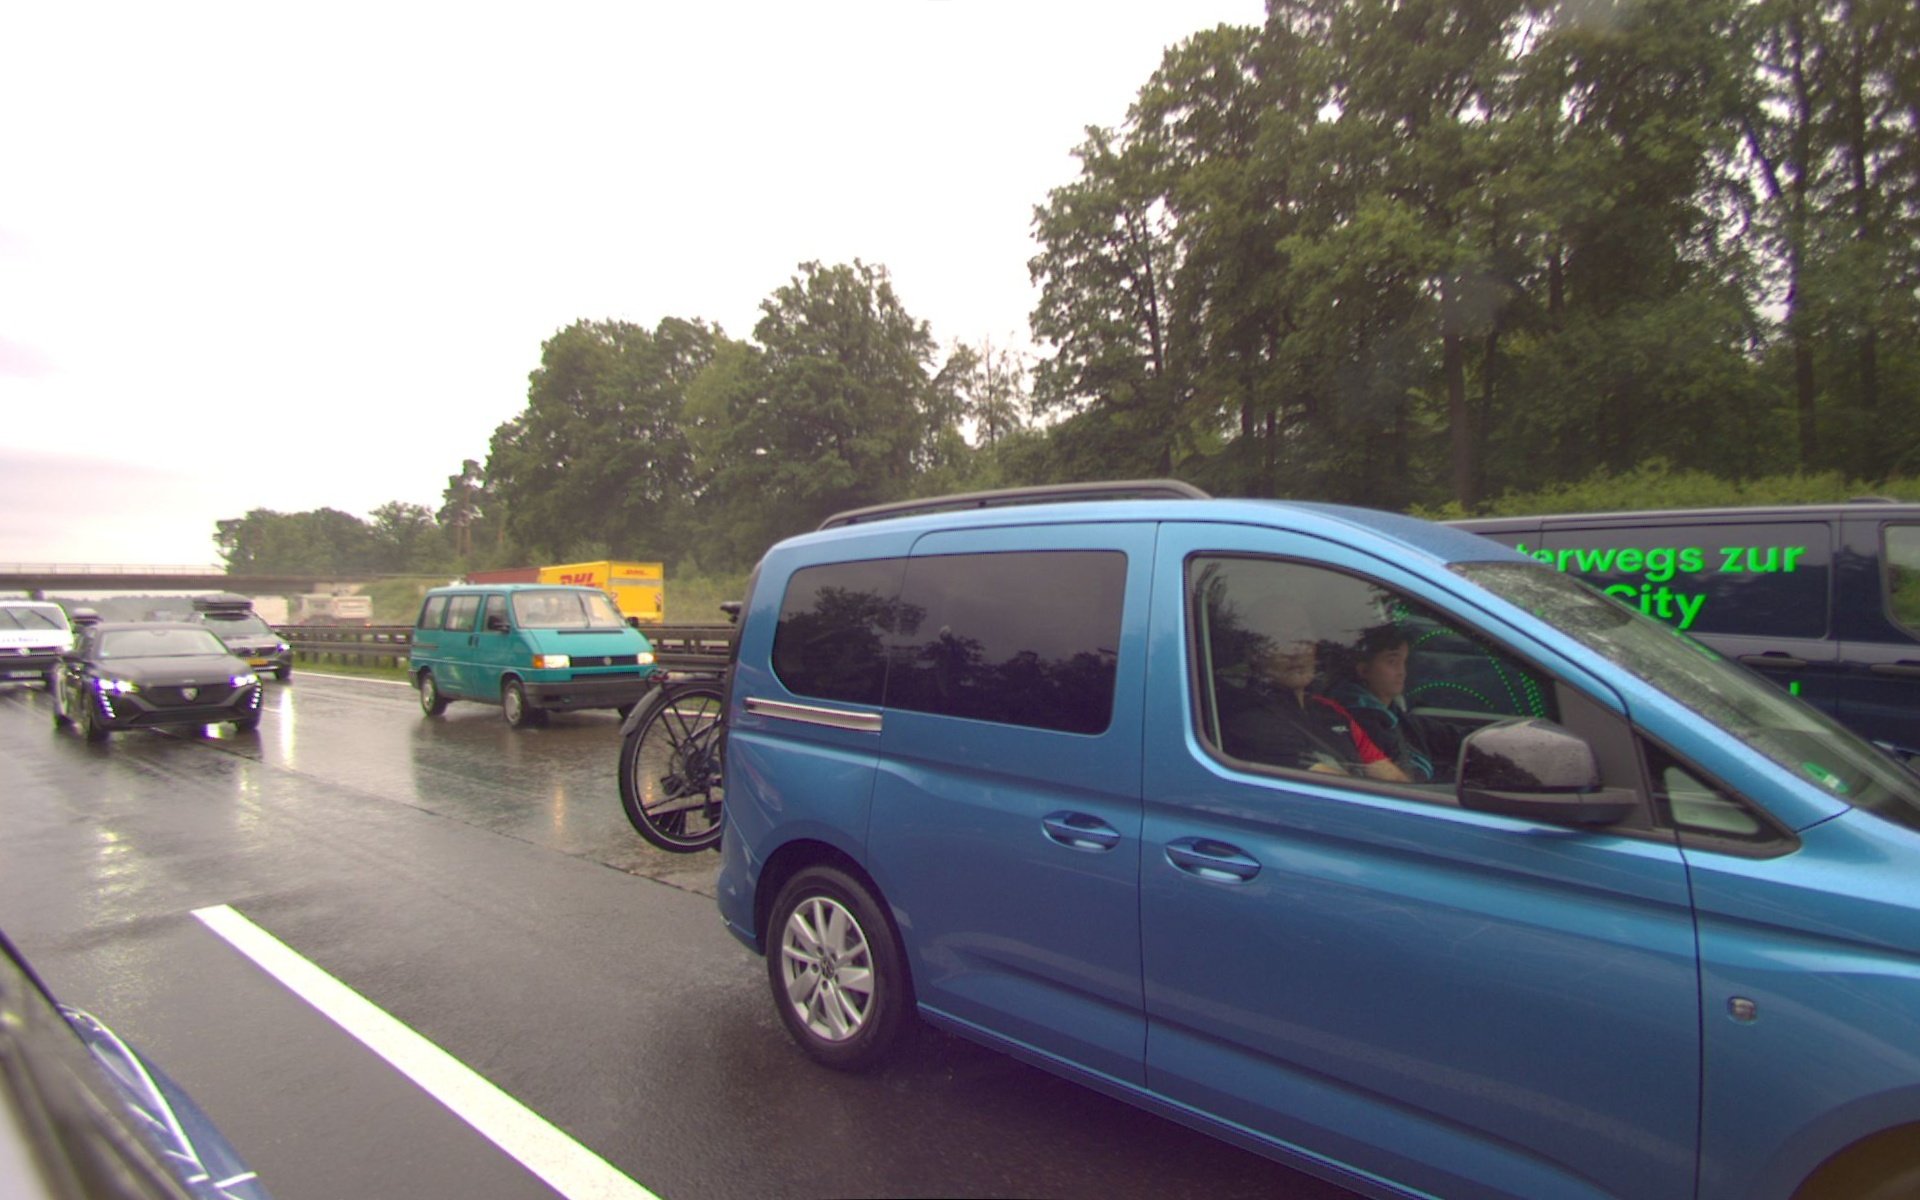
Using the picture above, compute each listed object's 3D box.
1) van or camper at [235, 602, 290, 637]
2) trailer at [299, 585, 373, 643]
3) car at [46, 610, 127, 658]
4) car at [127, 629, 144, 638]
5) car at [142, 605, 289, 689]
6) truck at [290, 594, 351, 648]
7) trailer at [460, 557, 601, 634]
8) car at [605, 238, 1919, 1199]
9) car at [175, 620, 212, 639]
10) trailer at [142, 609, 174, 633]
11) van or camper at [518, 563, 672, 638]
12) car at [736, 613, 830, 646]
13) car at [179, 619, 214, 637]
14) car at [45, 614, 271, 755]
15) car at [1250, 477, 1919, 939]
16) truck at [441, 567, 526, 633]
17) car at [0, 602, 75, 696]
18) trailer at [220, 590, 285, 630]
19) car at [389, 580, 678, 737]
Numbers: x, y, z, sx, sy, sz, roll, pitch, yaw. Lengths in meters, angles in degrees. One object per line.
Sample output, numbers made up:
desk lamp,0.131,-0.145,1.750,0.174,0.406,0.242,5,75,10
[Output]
van or camper,-47.405,1.336,68.731,4.874,2.268,2.204,-1,0,44
trailer,-45.770,1.037,74.064,9.424,3.984,2.351,-1,-2,44
car,-36.038,1.373,41.712,4.605,1.839,1.956,-1,0,42
car,-127.272,5.197,156.215,3.758,1.314,1.682,-2,-1,45
car,-18.300,1.093,24.801,4.604,1.839,1.956,-1,0,41
truck,-48.585,1.595,76.814,6.538,3.984,2.351,-1,-2,44
trailer,-24.919,-0.153,58.193,12.373,4.056,2.591,-1,0,43
car,1.221,0.462,3.129,5.014,1.926,2.245,-2,-1,42
car,-78.847,3.036,104.089,5.220,1.839,1.956,-1,0,41
trailer,-134.839,3.621,170.037,2.989,3.847,13.572,0,-1,-43
van or camper,-16.153,0.079,44.332,8.789,3.001,2.810,-1,-1,44
car,-7.661,1.268,43.675,3.994,1.355,1.785,-2,-1,38
car,-78.853,2.863,104.509,5.038,1.783,1.972,-2,-2,42
car,-10.813,0.974,13.515,4.468,1.516,1.825,-1,0,45
car,4.419,0.454,5.290,5.240,1.958,1.971,-1,0,41
truck,-29.468,0.063,62.500,6.265,3.847,2.674,-2,-1,43
car,-21.128,1.053,22.400,4.769,1.894,1.967,-2,-1,44
trailer,-74.088,1.166,105.814,13.960,3.984,2.690,-1,-2,43
car,-6.193,0.734,14.392,4.757,1.877,1.890,-1,0,41
